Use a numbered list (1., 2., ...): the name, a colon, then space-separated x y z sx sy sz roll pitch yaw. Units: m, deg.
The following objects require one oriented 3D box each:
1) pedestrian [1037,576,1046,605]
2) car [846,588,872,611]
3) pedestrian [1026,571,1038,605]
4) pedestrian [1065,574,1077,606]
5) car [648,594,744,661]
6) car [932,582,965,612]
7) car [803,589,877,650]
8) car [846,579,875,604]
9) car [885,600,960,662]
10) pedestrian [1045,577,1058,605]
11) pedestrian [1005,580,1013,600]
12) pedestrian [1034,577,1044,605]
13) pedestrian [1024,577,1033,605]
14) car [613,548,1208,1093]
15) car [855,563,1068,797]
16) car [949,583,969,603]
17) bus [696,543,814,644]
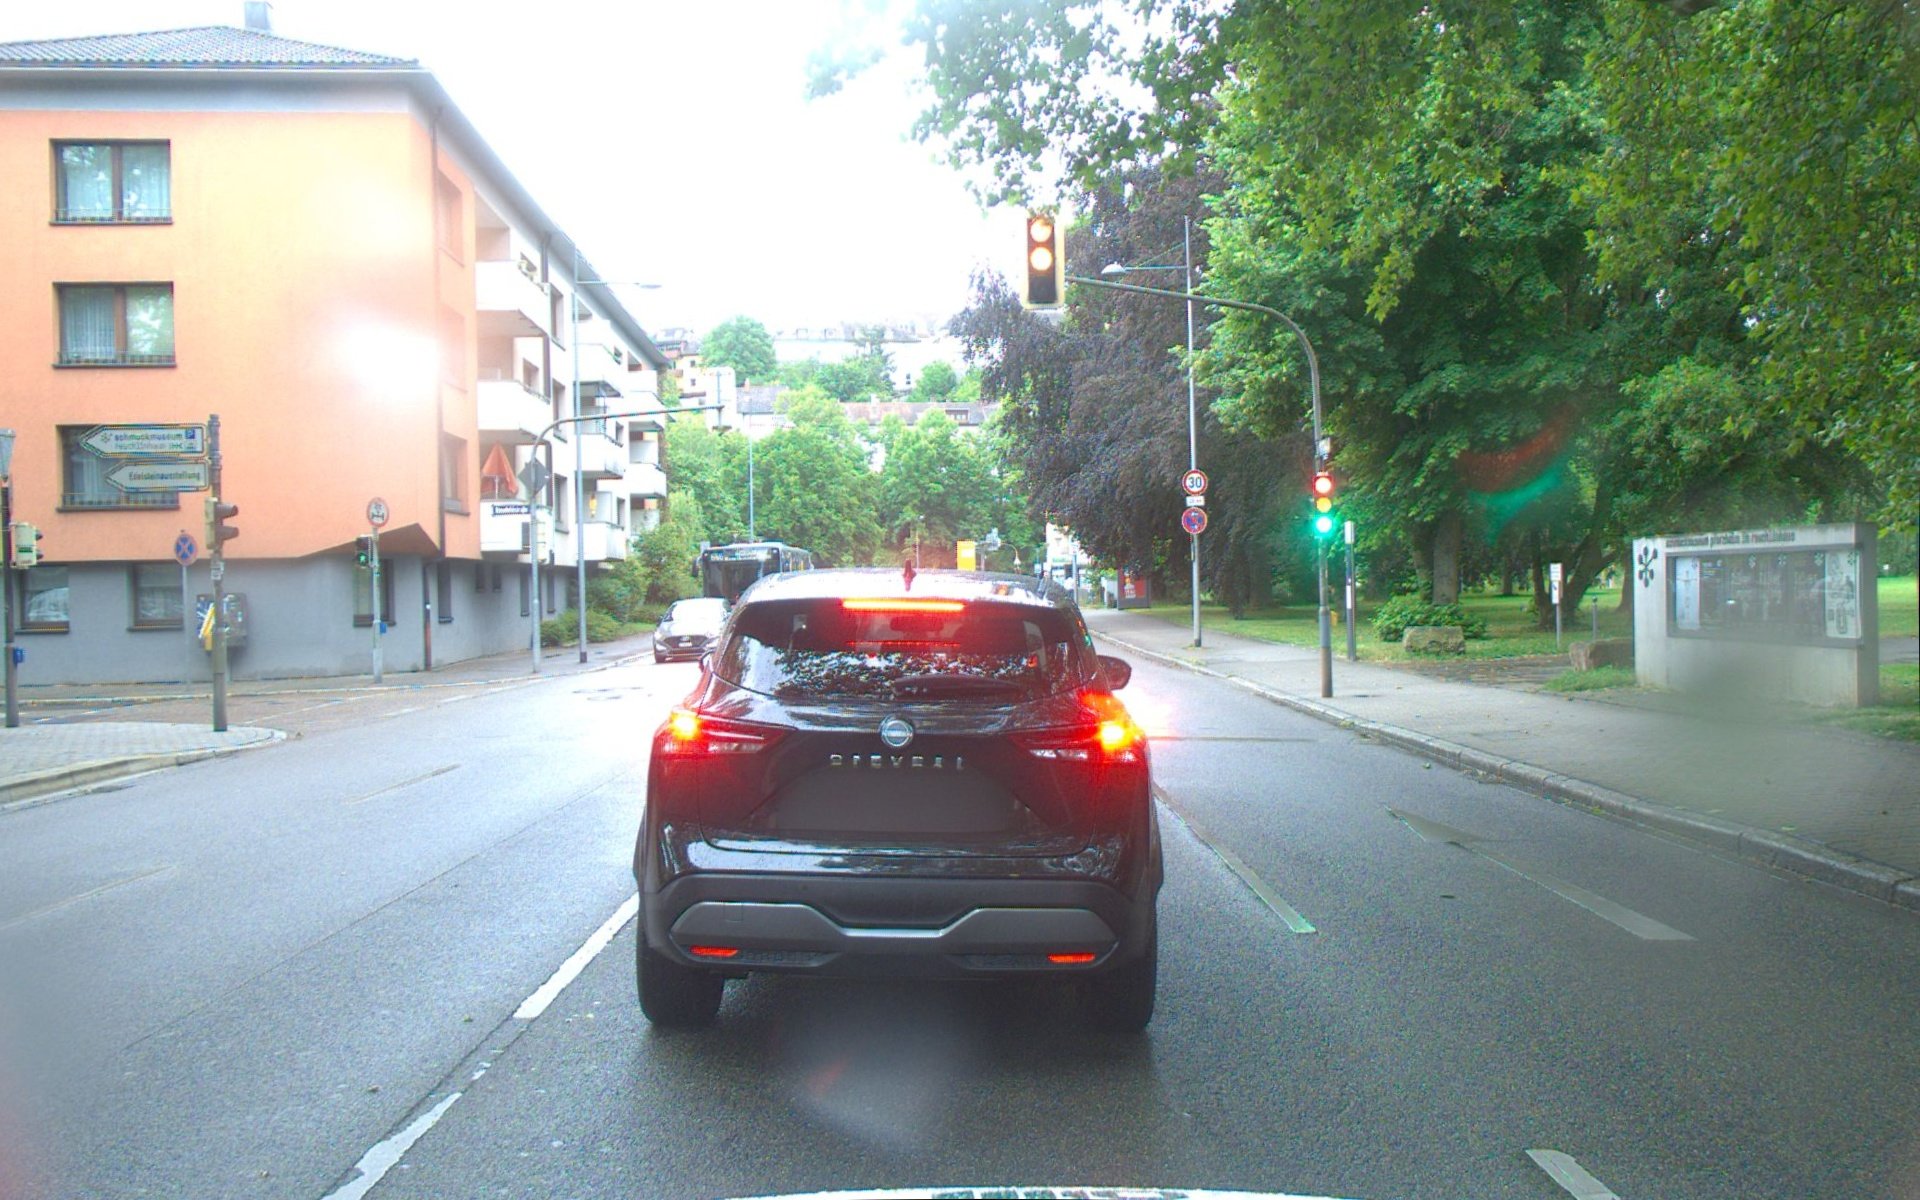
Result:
1. pedestrian: 4.784 -0.561 97.346 0.504 1.684 0.550 1 -1 -1
2. car: -7.655 -0.040 125.228 1.714 1.662 3.634 -2 1 0
3. pedestrian: 4.764 -0.780 109.788 0.752 2.222 0.711 1 -1 2
4. pedestrian: 6.404 -0.592 95.577 0.606 1.810 0.778 -2 0 -1
5. car: -6.461 0.642 40.889 1.772 1.441 4.029 -3 1 -2
6. car: -0.566 -0.155 83.144 1.591 1.439 3.454 -2 0 0
7. car: -3.025 0.457 42.158 1.591 1.439 3.454 -2 0 0
8. car: -6.211 -0.547 103.790 1.643 1.495 4.215 -3 1 -2
9. car: -0.955 0.729 41.109 1.772 1.442 4.029 0 0 -2
10. pedestrian: 5.481 -0.530 99.142 0.685 1.680 0.628 1 -1 0
11. pedestrian: 5.166 -1.040 174.860 0.684 2.049 0.582 -2 0 -1
12. pedestrian: 4.751 -0.543 99.049 0.533 1.680 0.490 1 -1 0
13. pedestrian: 4.087 -0.555 99.021 0.465 1.680 0.490 1 -1 0
14. car: -0.173 0.675 6.990 1.769 1.618 3.999 1 0 -1
15. car: 0.038 0.603 14.636 1.588 1.738 3.771 -2 0 1
16. car: -0.089 -0.625 142.385 1.714 1.662 3.634 -2 1 0
17. bus: -6.851 -0.217 56.928 2.710 3.026 11.779 -1 0 -1
